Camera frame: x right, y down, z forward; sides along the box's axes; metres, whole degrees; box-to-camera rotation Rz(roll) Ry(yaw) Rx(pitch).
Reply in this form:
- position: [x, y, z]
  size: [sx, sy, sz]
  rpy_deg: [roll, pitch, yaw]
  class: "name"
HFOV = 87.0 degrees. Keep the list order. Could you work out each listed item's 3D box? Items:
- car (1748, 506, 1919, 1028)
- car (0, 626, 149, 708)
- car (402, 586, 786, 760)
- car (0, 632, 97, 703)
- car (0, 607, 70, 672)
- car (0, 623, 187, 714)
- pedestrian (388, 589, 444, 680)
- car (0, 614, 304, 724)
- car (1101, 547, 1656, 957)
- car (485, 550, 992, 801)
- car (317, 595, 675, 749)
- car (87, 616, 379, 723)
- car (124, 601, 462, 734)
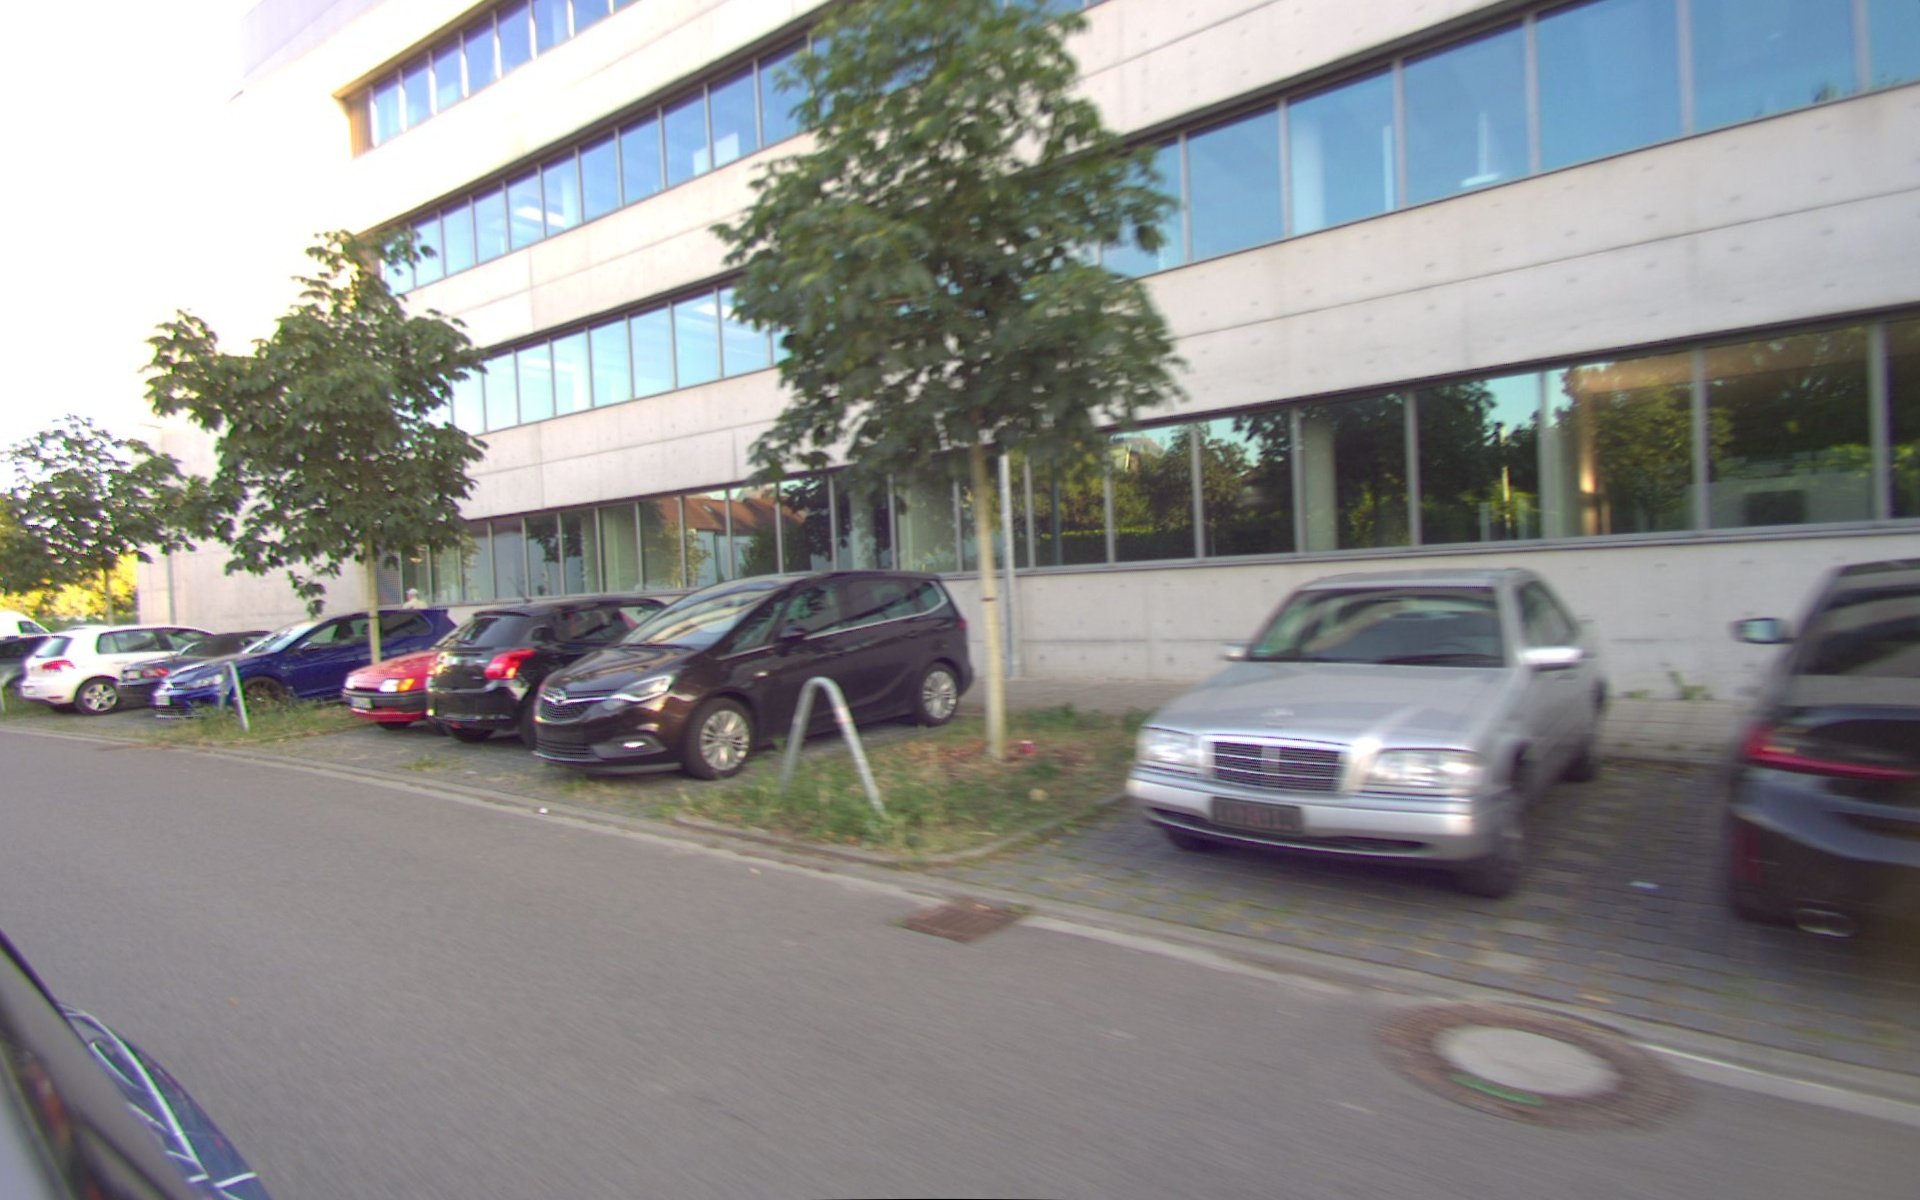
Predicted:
- position: [4.682, 0.352, 4.241]
  size: [1.763, 1.510, 4.350]
  rpy_deg: [-1, 4, 43]
  class: "car"
- position: [-20.887, 1.532, 22.461]
  size: [1.837, 1.540, 4.063]
  rpy_deg: [-3, 2, 27]
  class: "car"
- position: [-3.885, 0.674, 11.269]
  size: [1.676, 1.468, 3.670]
  rpy_deg: [-2, 2, 36]
  class: "car"
- position: [-23.069, 1.694, 23.839]
  size: [1.761, 1.493, 3.712]
  rpy_deg: [-4, 1, 28]
  class: "car"
- position: [-43.373, 1.907, 44.267]
  size: [2.212, 2.692, 6.206]
  rpy_deg: [-3, 2, 27]
  class: "car"
- position: [-18.701, 1.429, 20.913]
  size: [1.577, 1.523, 3.975]
  rpy_deg: [-5, 1, 27]
  class: "car"
- position: [-11.208, 0.710, 20.857]
  size: [0.723, 1.797, 0.640]
  rpy_deg: [-3, 2, 34]
  class: "pedestrian"
- position: [-14.605, 1.179, 18.487]
  size: [1.755, 1.522, 3.955]
  rpy_deg: [-3, 1, 34]
  class: "car"
- position: [2.773, 0.504, 5.953]
  size: [1.761, 1.475, 4.390]
  rpy_deg: [-3, 0, 39]
  class: "car"
- position: [-1.773, 0.471, 9.336]
  size: [1.894, 1.709, 4.267]
  rpy_deg: [-2, 2, 39]
  class: "car"
- position: [-5.621, 0.779, 12.660]
  size: [1.707, 1.468, 3.672]
  rpy_deg: [-2, 1, 34]
  class: "car"
- position: [-12.188, 1.109, 17.201]
  size: [1.679, 1.372, 3.610]
  rpy_deg: [-3, 1, 29]
  class: "car"
- position: [-9.913, 0.920, 15.323]
  size: [1.755, 1.522, 3.839]
  rpy_deg: [-3, 1, 34]
  class: "car"
